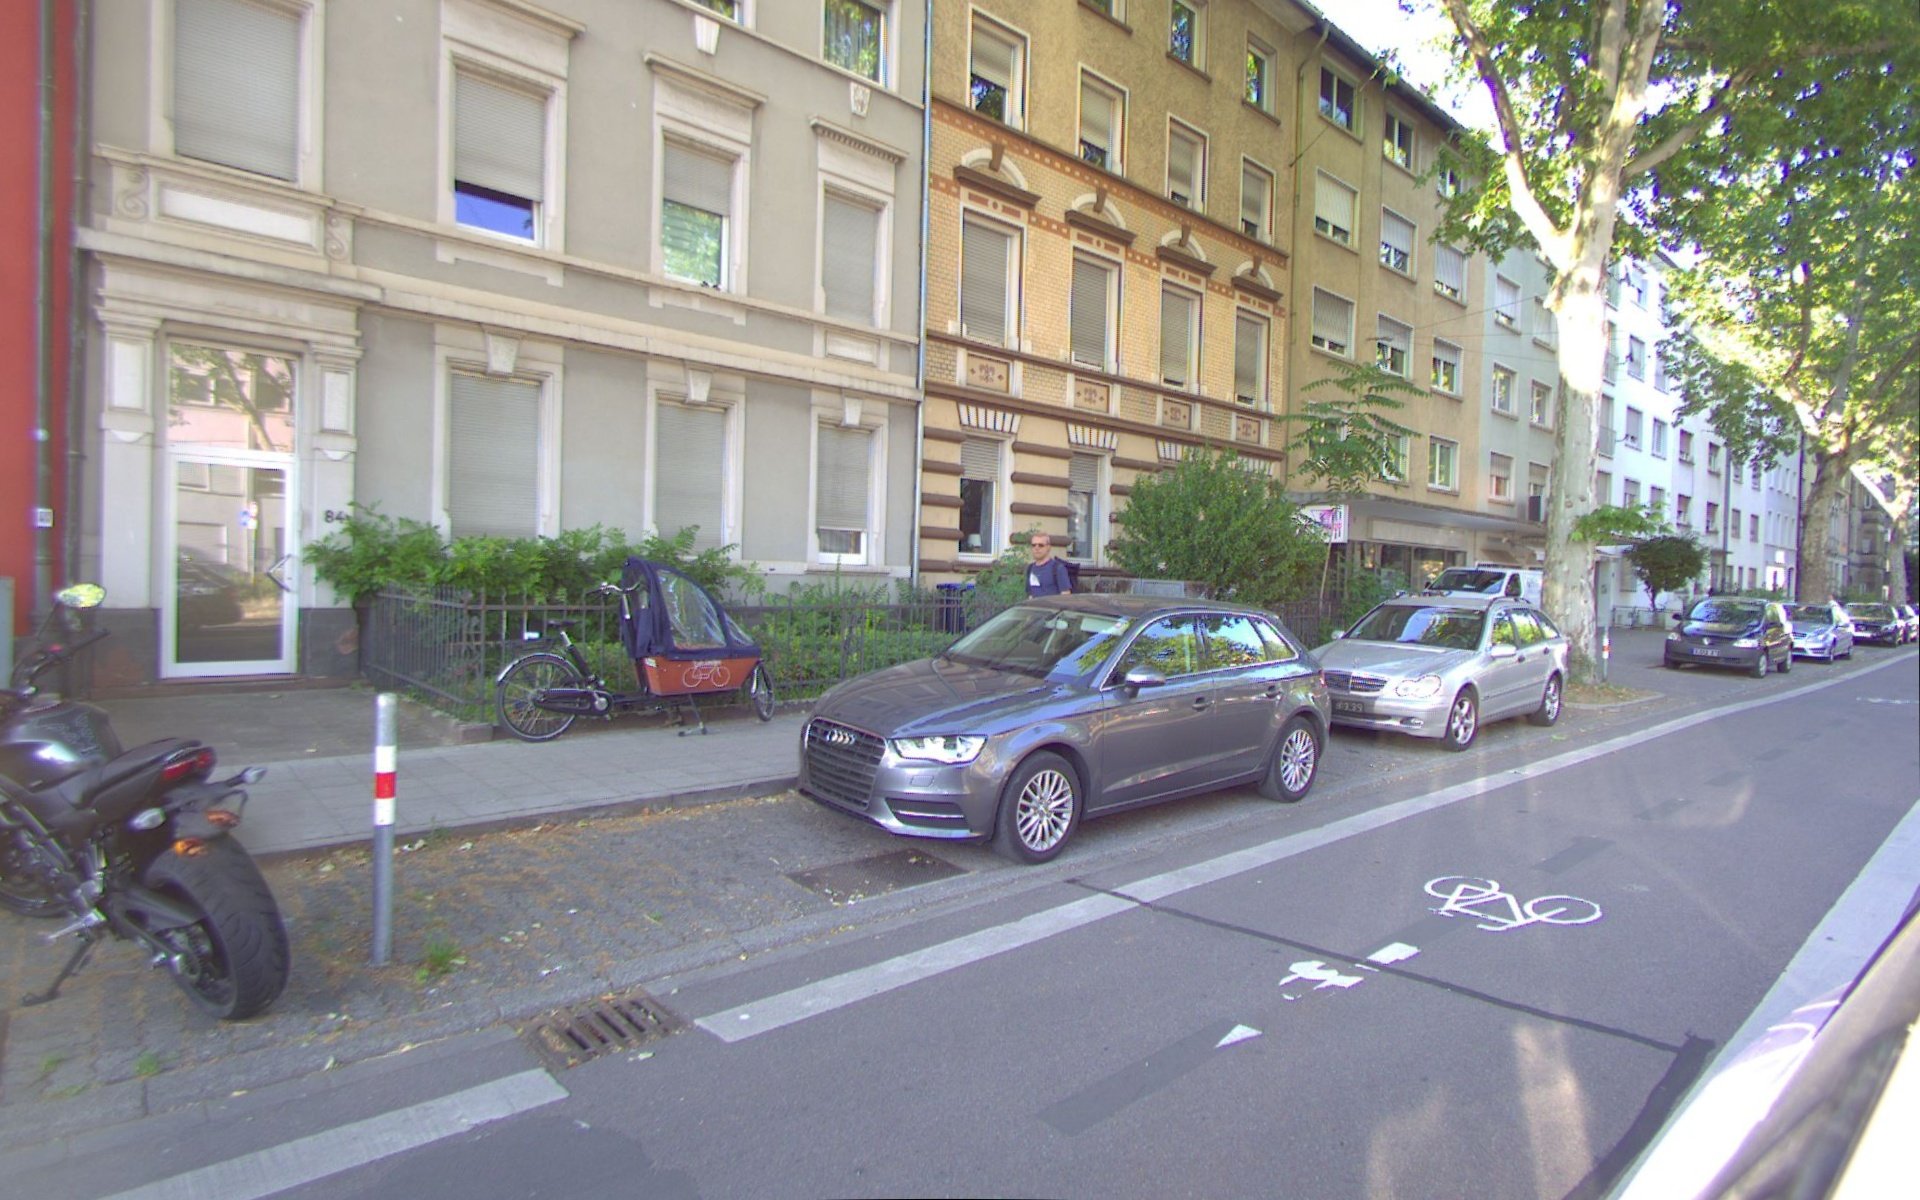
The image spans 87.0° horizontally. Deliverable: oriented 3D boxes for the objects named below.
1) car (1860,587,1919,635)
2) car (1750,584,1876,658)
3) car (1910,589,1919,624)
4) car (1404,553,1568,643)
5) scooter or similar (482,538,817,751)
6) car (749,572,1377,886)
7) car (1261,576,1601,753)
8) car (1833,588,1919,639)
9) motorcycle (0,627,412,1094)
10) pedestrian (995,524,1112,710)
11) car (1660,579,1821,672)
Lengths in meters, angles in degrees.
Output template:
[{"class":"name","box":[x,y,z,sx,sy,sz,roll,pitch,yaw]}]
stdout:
[{"class":"car","box":[35.448,0.385,38.087,4.295,1.628,1.802,0,4,-42]},{"class":"car","box":[21.810,0.468,25.826,4.295,1.628,1.802,0,4,-42]},{"class":"car","box":[46.709,0.356,48.123,4.034,1.628,1.802,0,4,-42]},{"class":"car","box":[12.789,-0.077,24.487,4.597,1.897,1.932,0,4,-42]},{"class":"scooter or similar","box":[-2.401,0.294,8.123,2.500,1.488,0.666,0,2,-41]},{"class":"car","box":[0.922,0.602,6.964,4.293,1.418,1.802,0,4,-41]},{"class":"car","box":[5.322,0.544,11.142,4.436,1.472,1.801,0,4,-43]},{"class":"car","box":[31.393,0.418,34.561,4.295,1.520,1.802,0,4,-42]},{"class":"motorcycle","box":[-3.028,0.754,3.575,2.188,1.124,0.659,4,2,23]},{"class":"pedestrian","box":[0.923,0.136,10.008,0.802,1.731,0.728,-1,4,-41]},{"class":"car","box":[16.096,0.448,20.806,4.295,1.628,1.802,0,4,-42]}]
